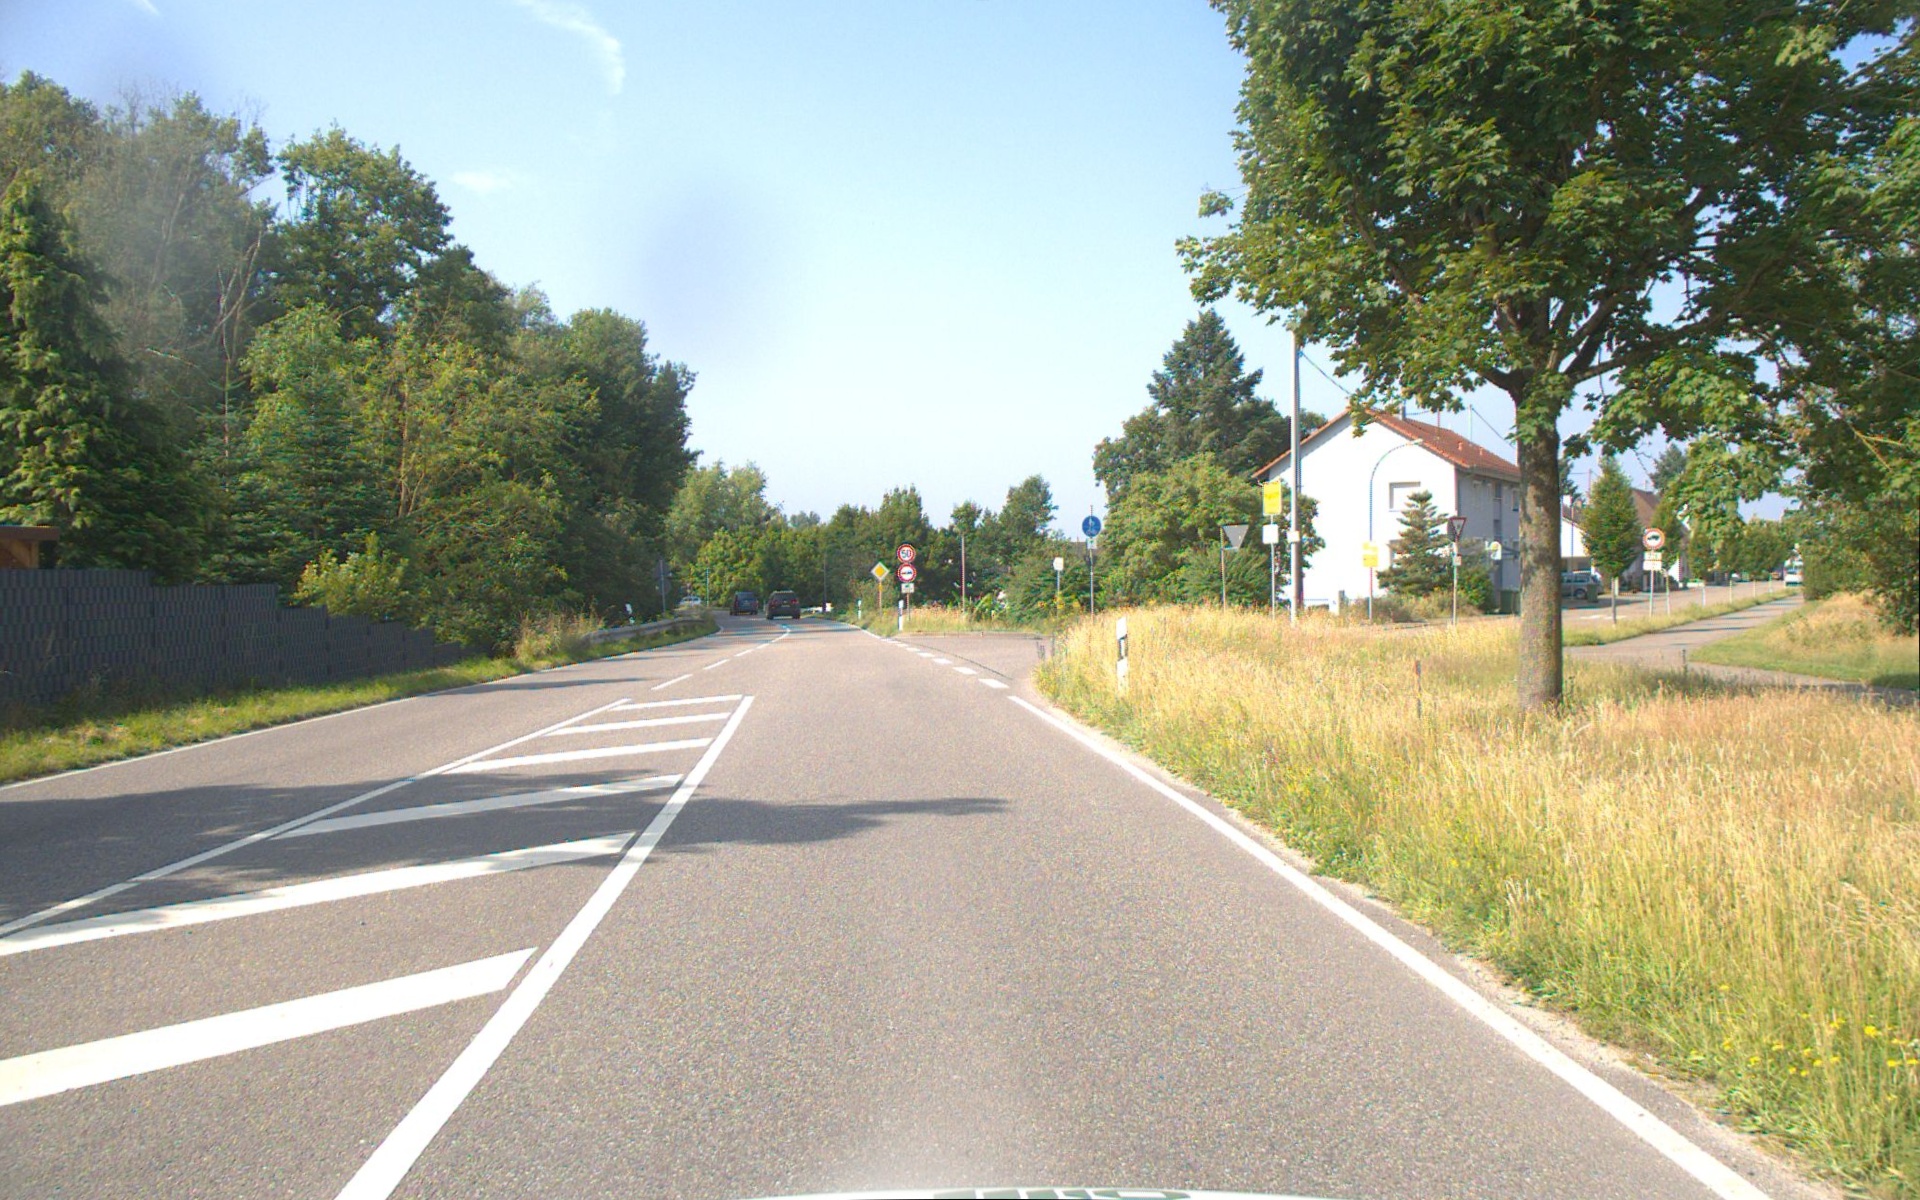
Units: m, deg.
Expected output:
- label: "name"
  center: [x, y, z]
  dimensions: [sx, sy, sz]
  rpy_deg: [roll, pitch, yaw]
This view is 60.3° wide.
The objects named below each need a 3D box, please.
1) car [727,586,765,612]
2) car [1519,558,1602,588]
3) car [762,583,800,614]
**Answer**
- label: "car"
  center: [-15.964, -0.087, 123.193]
  dimensions: [1.974, 1.802, 3.978]
  rpy_deg: [-1, 1, -19]
- label: "car"
  center: [35.851, -1.604, 98.816]
  dimensions: [4.371, 1.728, 1.764]
  rpy_deg: [1, 1, 36]
- label: "car"
  center: [-11.047, -0.124, 101.806]
  dimensions: [1.892, 1.802, 3.987]
  rpy_deg: [-1, 1, -13]
